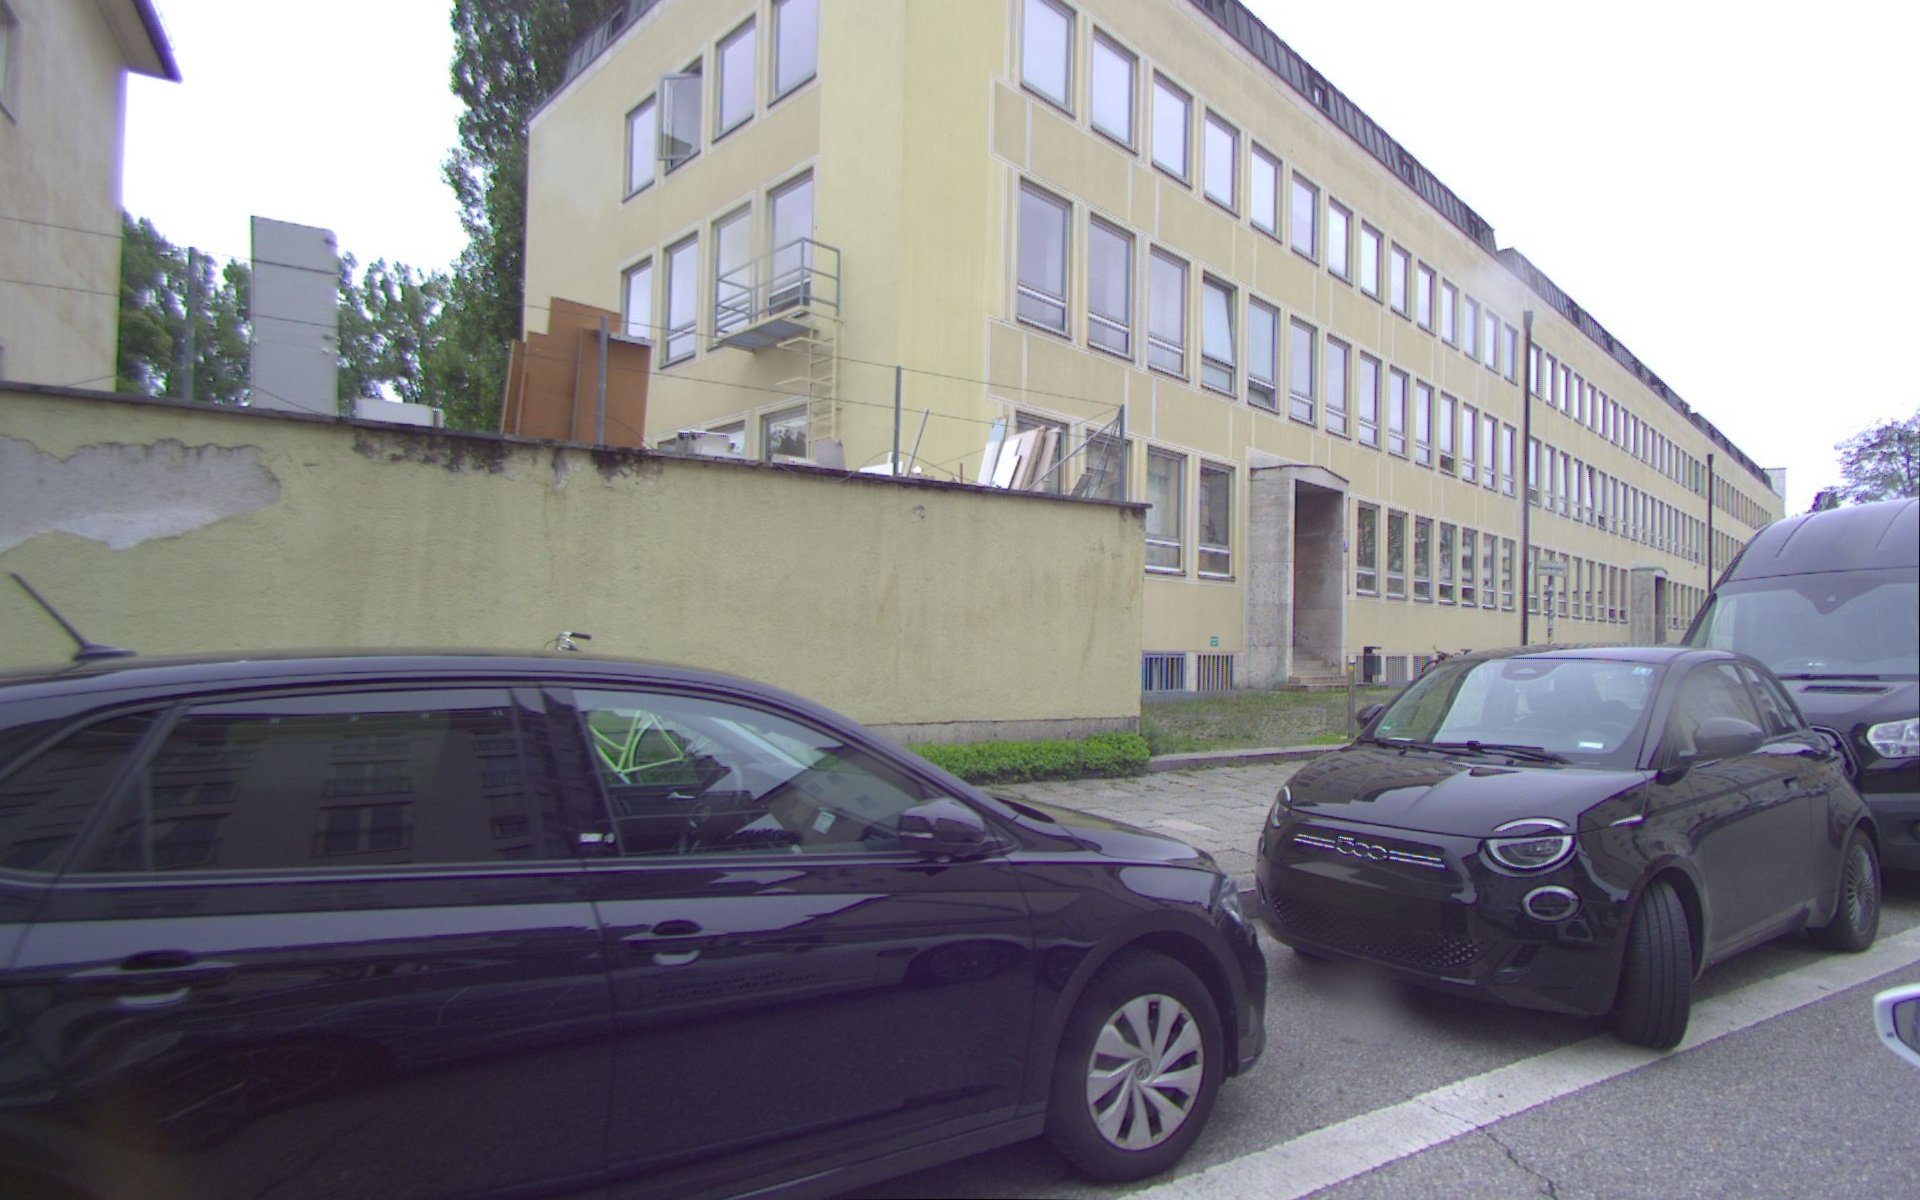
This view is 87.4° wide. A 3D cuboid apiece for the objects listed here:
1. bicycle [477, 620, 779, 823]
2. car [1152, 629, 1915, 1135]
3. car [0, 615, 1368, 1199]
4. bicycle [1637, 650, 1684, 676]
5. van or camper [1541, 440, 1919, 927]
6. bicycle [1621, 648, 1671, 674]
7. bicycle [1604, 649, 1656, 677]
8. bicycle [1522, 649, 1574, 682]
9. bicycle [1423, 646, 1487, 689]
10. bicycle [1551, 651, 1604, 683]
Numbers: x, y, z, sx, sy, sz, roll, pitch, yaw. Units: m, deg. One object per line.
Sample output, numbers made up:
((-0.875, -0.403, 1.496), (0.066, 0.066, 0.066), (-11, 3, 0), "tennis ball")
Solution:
((-2.301, 0.801, 7.037), (1.847, 1.249, 0.798), (3, -2, -31), "bicycle")
((2.891, 0.953, 4.822), (3.868, 1.516, 1.643), (3, -4, -34), "car")
((-0.904, 0.825, 2.767), (4.241, 1.455, 1.665), (3, -4, -33), "car")
((29.135, 2.625, 41.796), (1.583, 0.957, 0.501), (2, 0, 36), "bicycle")
((7.232, 0.595, 7.744), (5.494, 2.685, 2.283), (2, -3, -29), "van or camper")
((27.418, 2.429, 40.175), (1.585, 0.957, 0.501), (2, 0, 41), "bicycle")
((25.770, 2.401, 38.636), (1.585, 0.957, 0.501), (2, 0, 41), "bicycle")
((18.994, 2.122, 32.477), (0.410, 0.957, 1.398), (2, 0, -33), "bicycle")
((12.445, 1.691, 25.257), (1.386, 0.957, 0.413), (2, 0, 31), "bicycle")
((20.334, 2.205, 33.097), (0.411, 0.957, 1.393), (2, 0, -43), "bicycle")
